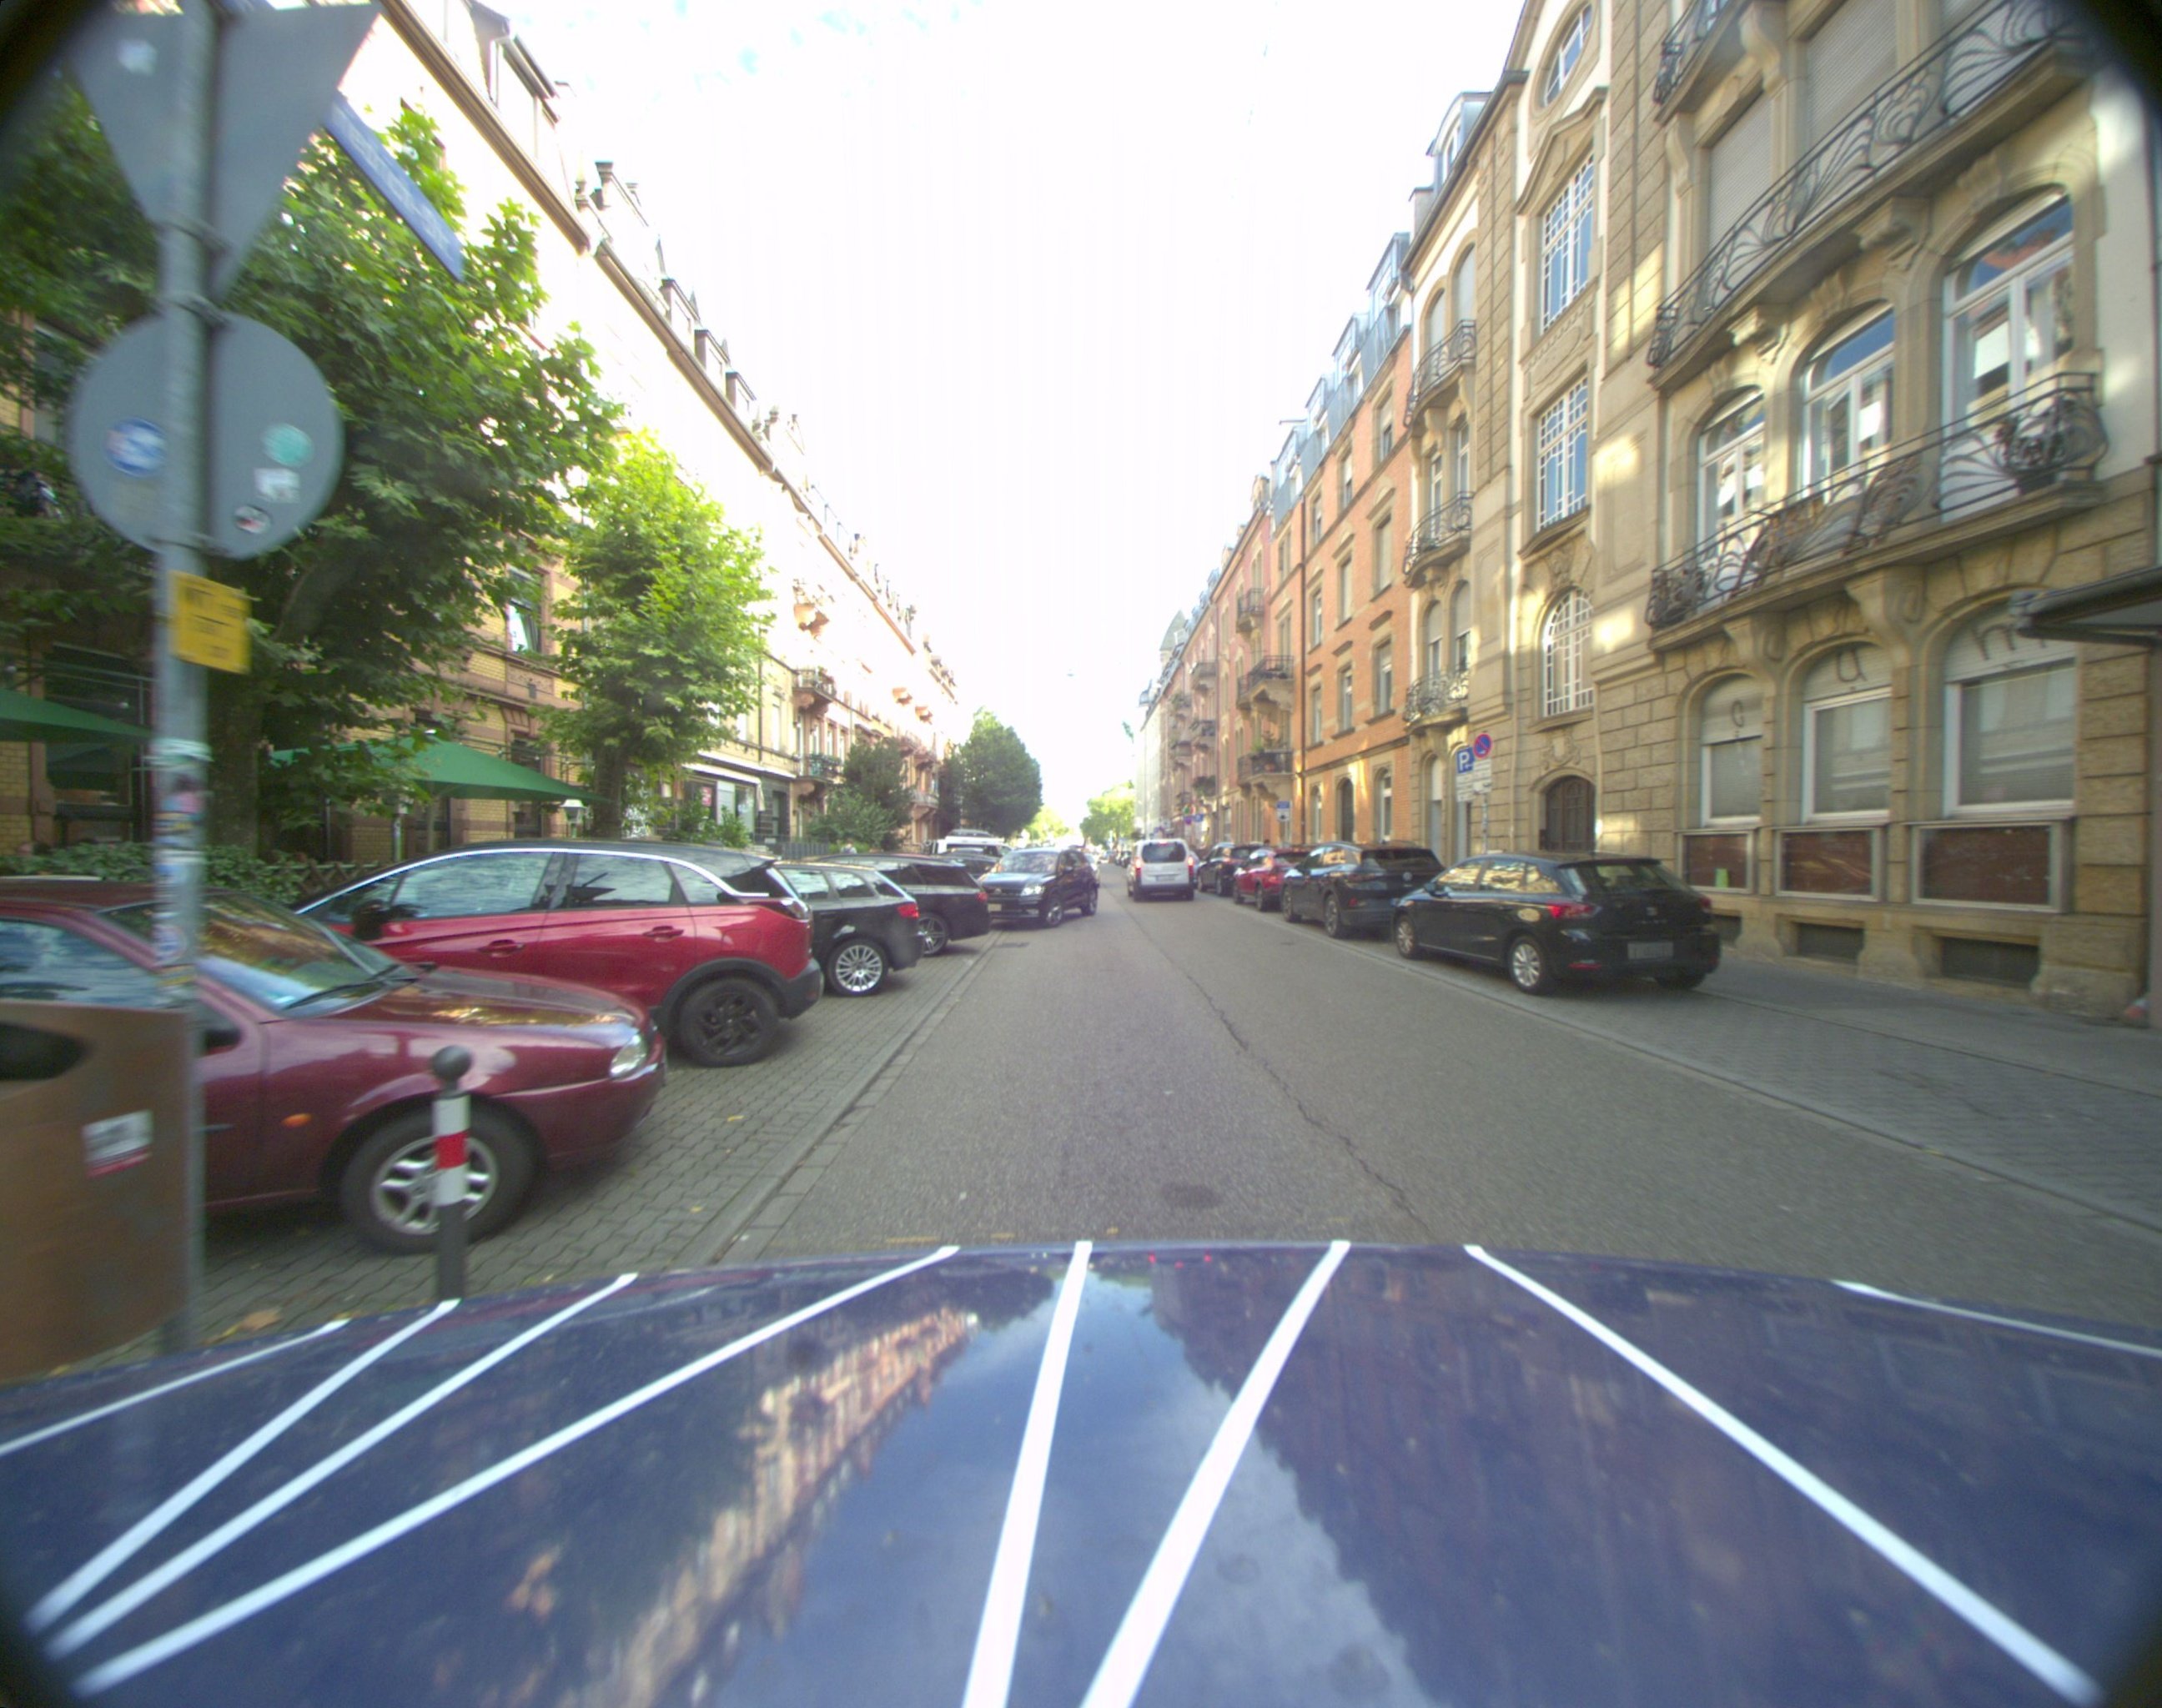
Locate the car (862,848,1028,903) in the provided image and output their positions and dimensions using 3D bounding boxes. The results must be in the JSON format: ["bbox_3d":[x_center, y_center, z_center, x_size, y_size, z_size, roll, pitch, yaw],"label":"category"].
[{"bbox_3d":[-3.977,0.661,22.626,4.479,1.468,1.884,3,-1,-40],"label":"car"}]

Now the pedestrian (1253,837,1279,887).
[{"bbox_3d":[6.748,0.287,27.740,0.758,1.798,0.863,-2,1,3],"label":"pedestrian"}]

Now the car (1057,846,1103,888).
[{"bbox_3d":[-0.023,0.524,33.175,1.811,1.622,4.000,-2,0,1],"label":"car"}]

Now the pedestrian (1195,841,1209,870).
[{"bbox_3d":[7.346,0.086,46.180,0.665,1.686,0.763,-2,1,0],"label":"pedestrian"}]

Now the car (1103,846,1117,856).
[{"bbox_3d":[4.419,-0.453,117.382,1.911,1.412,3.999,-1,1,0],"label":"car"}]

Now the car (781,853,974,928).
[{"bbox_3d":[-4.448,0.743,16.842,3.727,1.476,1.736,1,0,-38],"label":"car"}]

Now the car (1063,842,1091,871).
[{"bbox_3d":[-0.256,0.181,55.055,1.811,1.914,4.000,-2,0,1],"label":"car"}]

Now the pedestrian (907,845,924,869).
[{"bbox_3d":[-10.177,0.175,46.848,0.930,1.488,0.811,1,1,-7],"label":"pedestrian"}]

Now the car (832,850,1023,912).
[{"bbox_3d":[-3.921,0.692,19.724,4.478,1.456,1.874,2,-1,-35],"label":"car"}]

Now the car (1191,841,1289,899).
[{"bbox_3d":[5.069,0.463,24.966,1.878,1.671,4.892,-2,0,-4],"label":"car"}]

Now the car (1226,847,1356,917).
[{"bbox_3d":[5.123,0.605,19.232,1.999,1.536,4.425,0,1,-1],"label":"car"}]

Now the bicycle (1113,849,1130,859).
[{"bbox_3d":[4.633,0.004,87.662,1.872,1.168,0.687,-1,1,1],"label":"bicycle"}]

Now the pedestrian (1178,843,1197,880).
[{"bbox_3d":[4.982,0.334,35.601,0.566,1.699,0.666,-2,1,-35],"label":"pedestrian"}]

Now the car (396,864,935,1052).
[{"bbox_3d":[-3.956,0.873,7.994,4.421,1.448,1.938,0,1,-25],"label":"car"}]

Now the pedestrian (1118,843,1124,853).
[{"bbox_3d":[6.846,-0.970,129.652,0.845,1.699,0.879,-1,1,0],"label":"pedestrian"}]

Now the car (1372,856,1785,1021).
[{"bbox_3d":[5.246,0.759,8.889,1.999,1.412,4.243,0,1,-1],"label":"car"}]

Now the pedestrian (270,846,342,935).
[{"bbox_3d":[-11.038,0.509,10.836,0.466,1.212,0.563,2,1,-9],"label":"pedestrian"}]

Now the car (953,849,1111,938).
[{"bbox_3d":[-0.892,0.754,16.839,1.872,1.644,4.392,-1,1,19],"label":"car"}]

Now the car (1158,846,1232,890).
[{"bbox_3d":[4.465,0.487,30.620,1.830,1.569,5.261,-2,1,-4],"label":"car"}]

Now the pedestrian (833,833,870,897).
[{"bbox_3d":[-6.861,0.324,22.716,0.841,1.867,0.723,0,1,4],"label":"pedestrian"}]

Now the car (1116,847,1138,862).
[{"bbox_3d":[4.519,0.061,74.857,1.674,1.407,4.010,-2,1,-4],"label":"car"}]

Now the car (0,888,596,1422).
[{"bbox_3d":[-4.149,0.944,2.695,3.950,1.448,1.765,-1,1,-28],"label":"car"}]

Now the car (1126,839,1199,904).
[{"bbox_3d":[2.458,0.487,24.026,1.922,1.818,4.438,-1,1,2],"label":"car"}]

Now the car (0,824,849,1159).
[{"bbox_3d":[-4.050,0.725,5.324,4.361,1.635,1.817,2,0,-26],"label":"car"}]

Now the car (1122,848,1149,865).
[{"bbox_3d":[4.613,0.198,64.996,1.817,1.343,5.113,-1,1,-1],"label":"car"}]

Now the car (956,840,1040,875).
[{"bbox_3d":[-4.732,0.230,43.920,4.649,1.774,1.810,2,-1,-2],"label":"car"}]

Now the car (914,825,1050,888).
[{"bbox_3d":[-4.012,0.106,31.144,5.169,2.391,1.913,0,1,-33],"label":"car"}]

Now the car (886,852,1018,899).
[{"bbox_3d":[-4.240,0.685,25.359,4.003,1.451,1.746,1,0,-42],"label":"car"}]

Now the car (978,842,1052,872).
[{"bbox_3d":[-4.214,0.220,48.875,4.412,1.812,1.750,1,1,-32],"label":"car"}]

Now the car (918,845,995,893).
[{"bbox_3d":[-4.591,0.569,28.055,2.473,1.656,1.344,3,-1,-27],"label":"car"}]

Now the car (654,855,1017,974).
[{"bbox_3d":[-3.573,0.809,11.306,4.776,1.448,2.052,2,-1,-28],"label":"car"}]

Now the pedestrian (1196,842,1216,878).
[{"bbox_3d":[5.830,0.274,35.441,0.682,1.651,0.550,-2,1,-30],"label":"pedestrian"}]

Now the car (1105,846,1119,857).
[{"bbox_3d":[4.464,-0.394,111.297,1.828,1.477,4.169,-1,1,0],"label":"car"}]

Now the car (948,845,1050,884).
[{"bbox_3d":[-3.935,0.478,36.877,4.465,1.722,1.995,-1,1,-35],"label":"car"}]

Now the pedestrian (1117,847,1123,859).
[{"bbox_3d":[4.603,-0.083,88.791,0.689,1.365,0.739,-1,1,3],"label":"pedestrian"}]

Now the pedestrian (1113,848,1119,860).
[{"bbox_3d":[4.108,-0.036,89.363,0.739,1.341,0.644,-1,1,2],"label":"pedestrian"}]

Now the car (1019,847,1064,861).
[{"bbox_3d":[-4.549,-0.005,87.471,4.817,1.535,1.865,1,1,-32],"label":"car"}]

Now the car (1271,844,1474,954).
[{"bbox_3d":[4.959,0.638,13.760,1.795,1.619,4.846,0,1,0],"label":"car"}]
